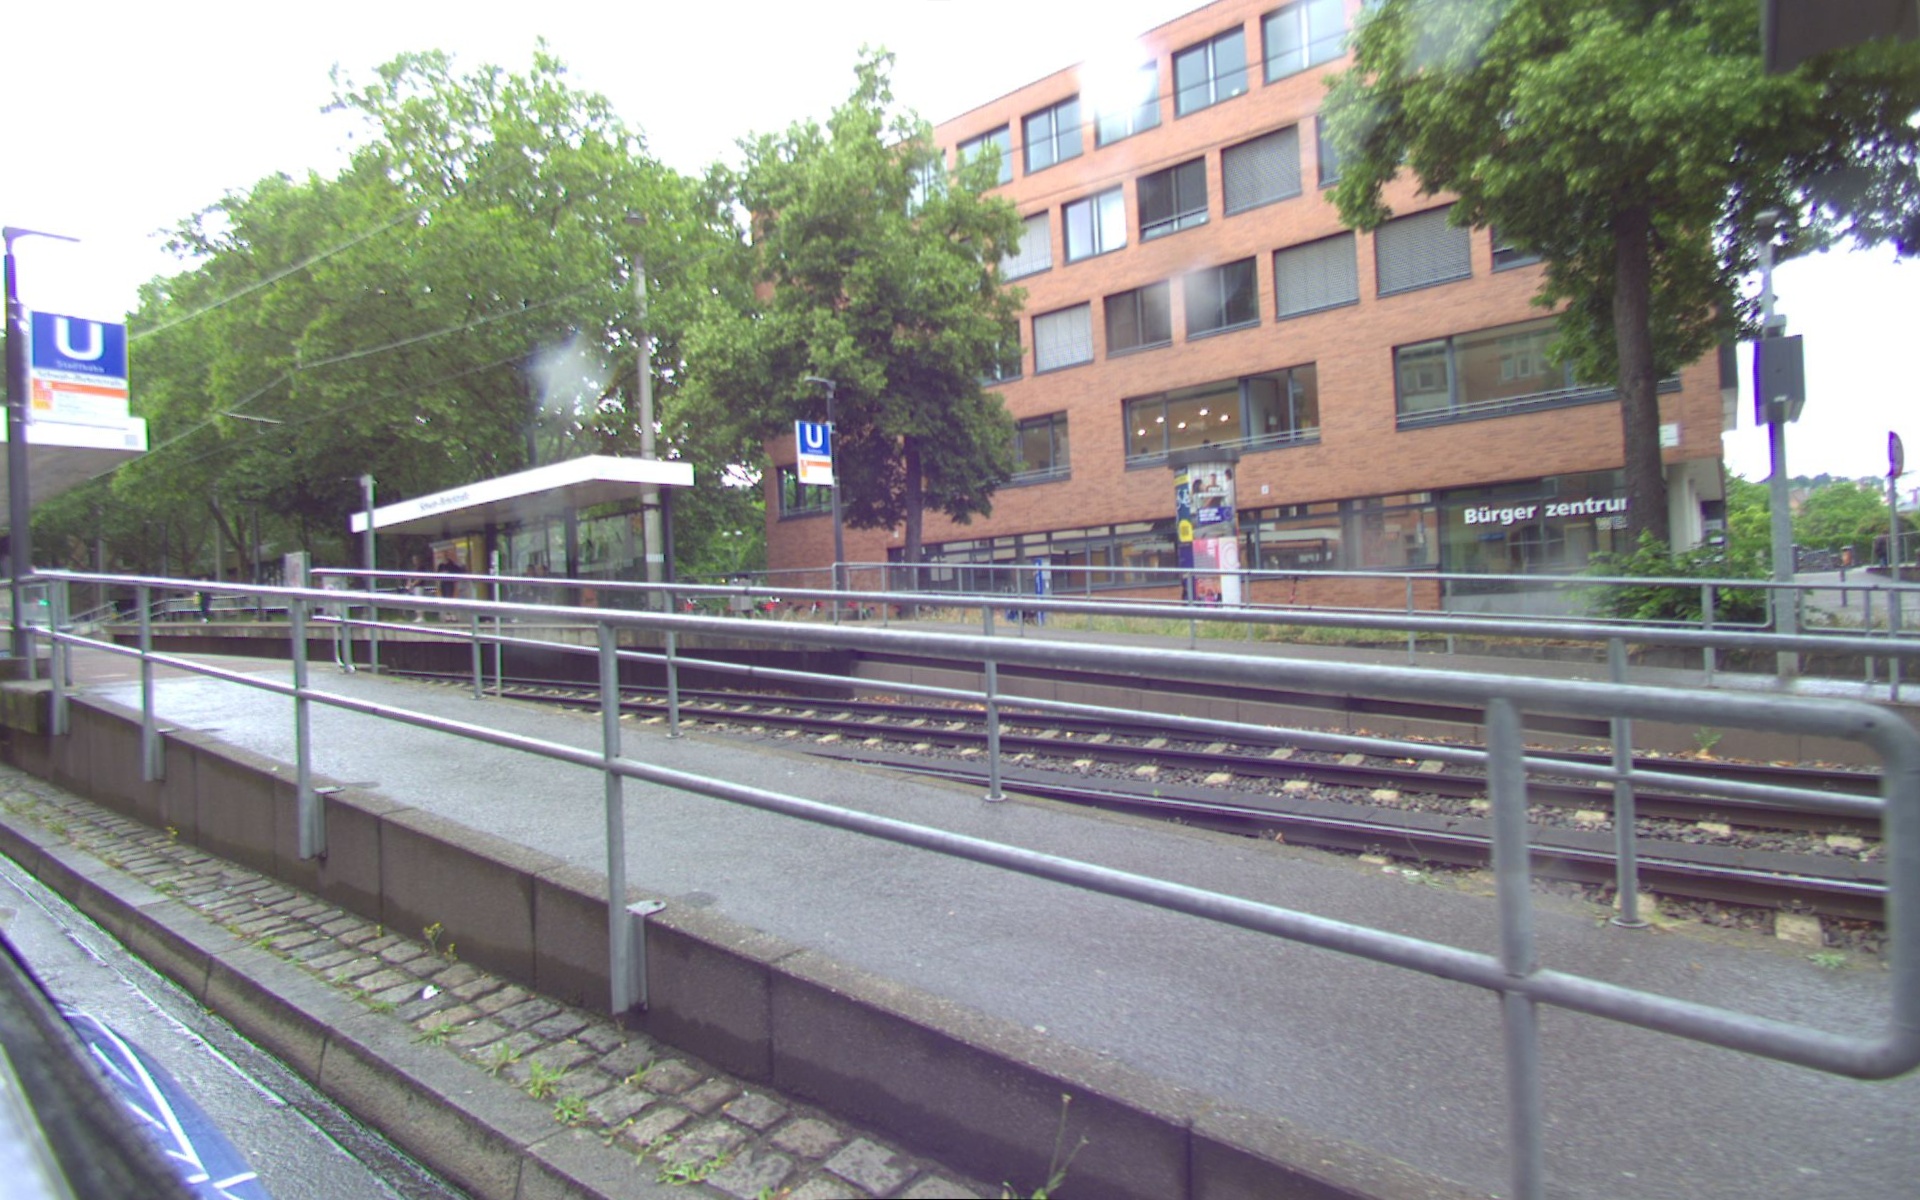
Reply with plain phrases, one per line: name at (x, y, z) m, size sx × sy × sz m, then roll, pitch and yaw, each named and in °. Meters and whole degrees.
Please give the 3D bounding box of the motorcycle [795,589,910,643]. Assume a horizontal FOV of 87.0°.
motorcycle at (-3.062, 0.435, 29.503) m, size 1.004 × 1.417 × 3.829 m, roll -1°, pitch 1°, yaw 36°

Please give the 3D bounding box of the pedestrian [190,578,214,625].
pedestrian at (-27.269, 0.055, 36.410) m, size 0.689 × 1.653 × 0.556 m, roll -2°, pitch 0°, yaw 45°

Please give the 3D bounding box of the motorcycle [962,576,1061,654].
motorcycle at (1.349, 0.334, 25.651) m, size 0.991 × 1.829 × 3.009 m, roll -1°, pitch 1°, yaw 36°

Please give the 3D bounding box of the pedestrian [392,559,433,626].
pedestrian at (-13.755, -0.187, 25.416) m, size 0.563 × 1.653 × 0.680 m, roll -2°, pitch 0°, yaw 36°

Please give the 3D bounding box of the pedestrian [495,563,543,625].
pedestrian at (-10.031, -0.141, 23.012) m, size 0.563 × 1.373 × 0.770 m, roll -2°, pitch 0°, yaw 36°

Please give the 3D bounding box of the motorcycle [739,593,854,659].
motorcycle at (-4.935, 0.743, 30.954) m, size 1.004 × 1.829 × 3.829 m, roll -1°, pitch 1°, yaw 36°

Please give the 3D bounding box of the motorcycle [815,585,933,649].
motorcycle at (-2.343, 0.435, 28.476) m, size 1.004 × 1.617 × 3.829 m, roll -1°, pitch 1°, yaw 36°

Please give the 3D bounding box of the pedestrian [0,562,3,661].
pedestrian at (-12.887, -0.052, 13.124) m, size 0.587 × 1.700 × 0.607 m, roll -2°, pitch 0°, yaw 41°

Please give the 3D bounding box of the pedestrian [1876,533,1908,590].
pedestrian at (34.329, -1.410, 37.275) m, size 0.715 × 2.029 × 0.712 m, roll -1°, pitch -1°, yaw 33°

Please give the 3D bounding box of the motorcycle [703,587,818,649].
motorcycle at (-6.199, 0.516, 31.810) m, size 1.004 × 1.787 × 3.829 m, roll -1°, pitch 1°, yaw 36°

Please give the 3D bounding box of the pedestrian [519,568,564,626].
pedestrian at (-9.420, -0.070, 22.785) m, size 0.563 × 1.249 × 0.697 m, roll -2°, pitch 0°, yaw 36°

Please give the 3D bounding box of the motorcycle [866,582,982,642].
motorcycle at (-0.920, 0.288, 27.827) m, size 1.004 × 1.499 × 3.829 m, roll -1°, pitch 1°, yaw 36°

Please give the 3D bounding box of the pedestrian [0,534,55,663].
pedestrian at (-11.973, -0.019, 12.871) m, size 0.507 × 1.593 × 0.607 m, roll -2°, pitch 0°, yaw 41°

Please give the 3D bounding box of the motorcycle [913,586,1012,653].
motorcycle at (0.121, 0.489, 26.881) m, size 1.004 × 1.640 × 3.031 m, roll -1°, pitch 1°, yaw 36°

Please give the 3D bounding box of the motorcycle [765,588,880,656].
motorcycle at (-4.036, 0.606, 30.245) m, size 1.004 × 1.829 × 3.829 m, roll -1°, pitch 1°, yaw 36°

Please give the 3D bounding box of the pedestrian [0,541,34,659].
pedestrian at (-13.076, 0.002, 13.779) m, size 0.507 × 1.593 × 0.607 m, roll -2°, pitch 0°, yaw 41°

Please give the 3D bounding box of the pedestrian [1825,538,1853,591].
pedestrian at (34.601, -1.384, 39.846) m, size 0.715 × 2.029 × 0.712 m, roll -1°, pitch -1°, yaw 33°

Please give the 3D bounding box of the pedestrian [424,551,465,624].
pedestrian at (-12.489, -0.296, 24.524) m, size 0.704 × 1.728 × 0.557 m, roll -2°, pitch 0°, yaw 36°
